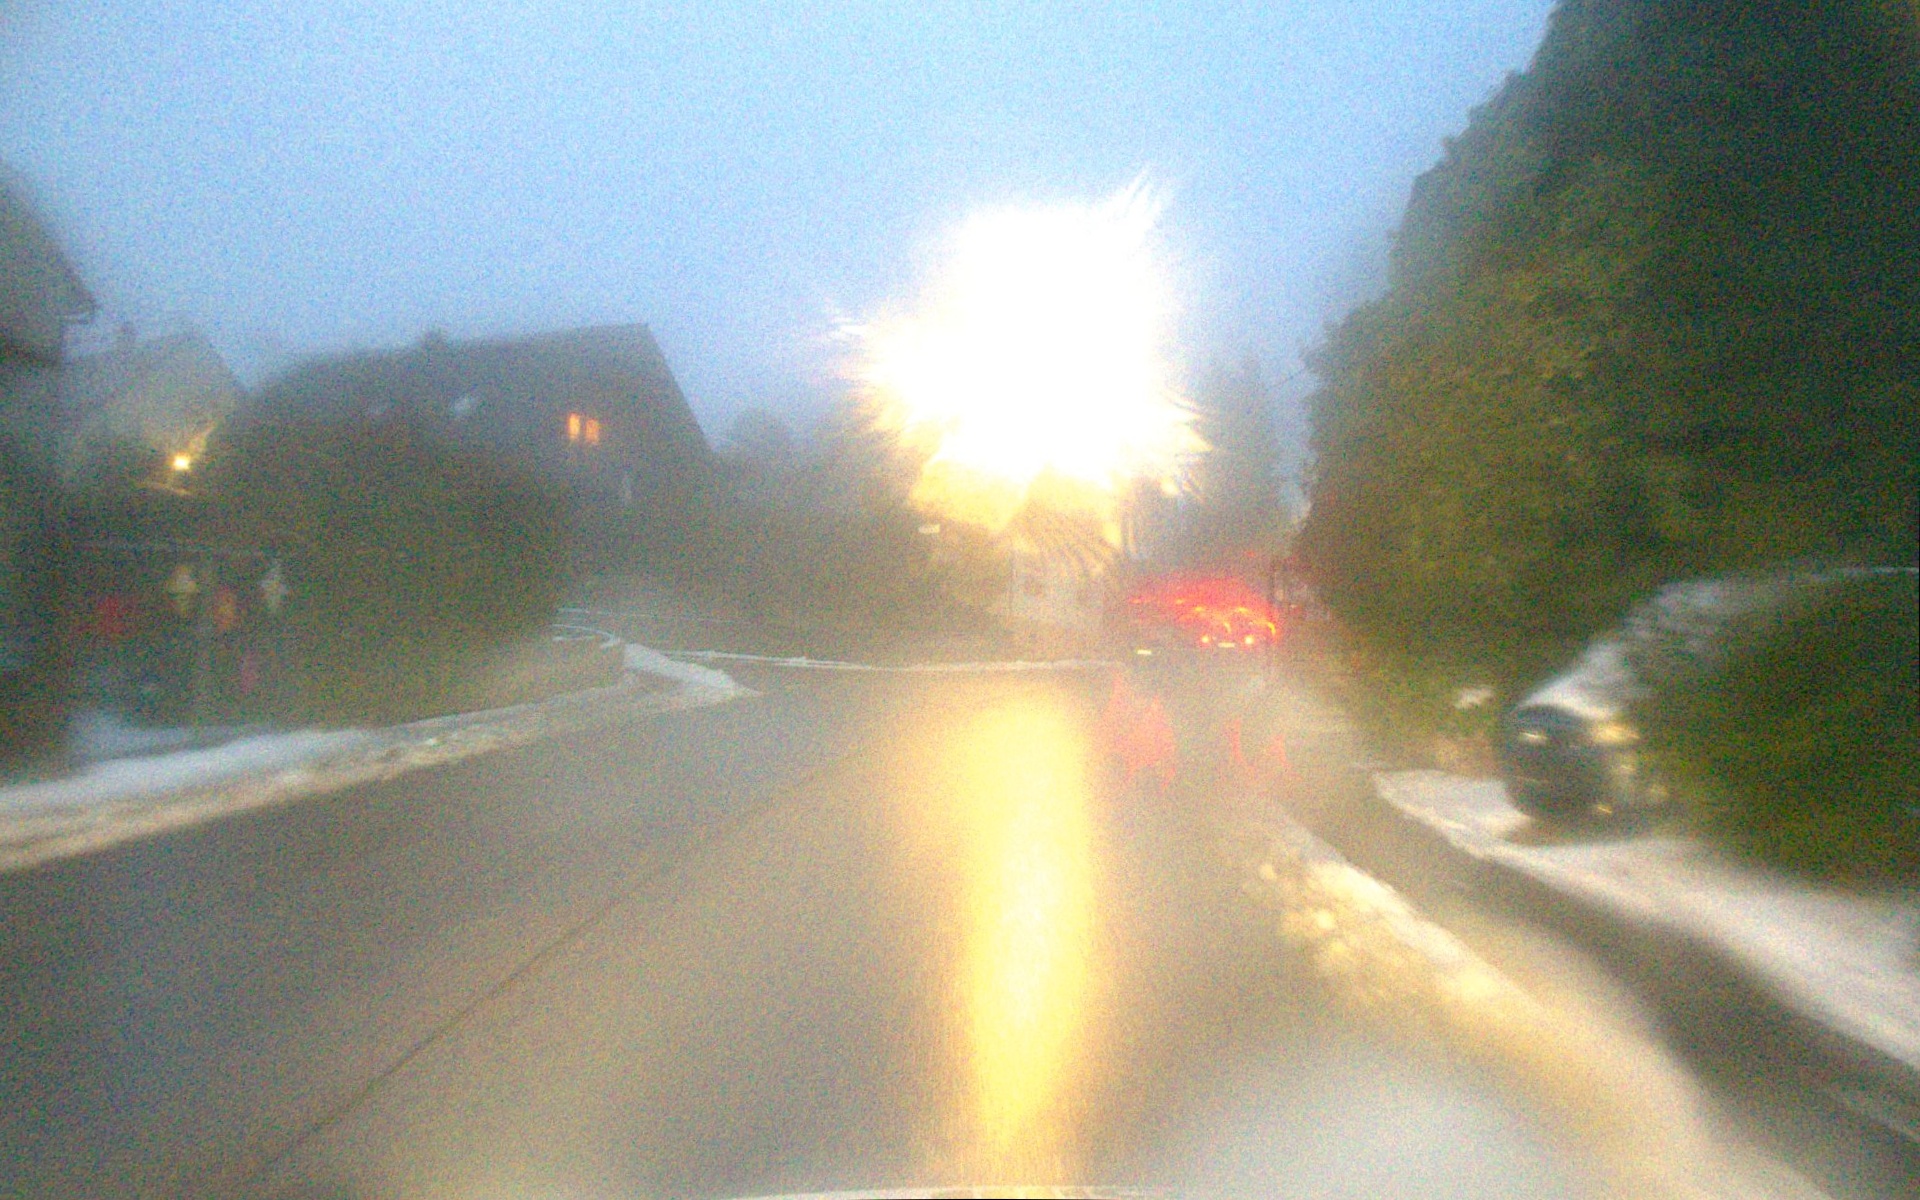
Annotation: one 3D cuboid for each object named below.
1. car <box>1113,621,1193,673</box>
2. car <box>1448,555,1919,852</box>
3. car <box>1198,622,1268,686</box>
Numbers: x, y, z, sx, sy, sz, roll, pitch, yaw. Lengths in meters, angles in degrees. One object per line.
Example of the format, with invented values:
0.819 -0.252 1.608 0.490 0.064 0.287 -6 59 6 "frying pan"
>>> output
6.948 1.708 59.180 1.952 1.680 4.000 -3 -4 20 "car"
5.437 0.606 10.821 3.913 1.720 1.840 0 -1 -9 "car"
8.201 1.660 49.474 1.951 1.768 3.881 -2 -4 10 "car"
